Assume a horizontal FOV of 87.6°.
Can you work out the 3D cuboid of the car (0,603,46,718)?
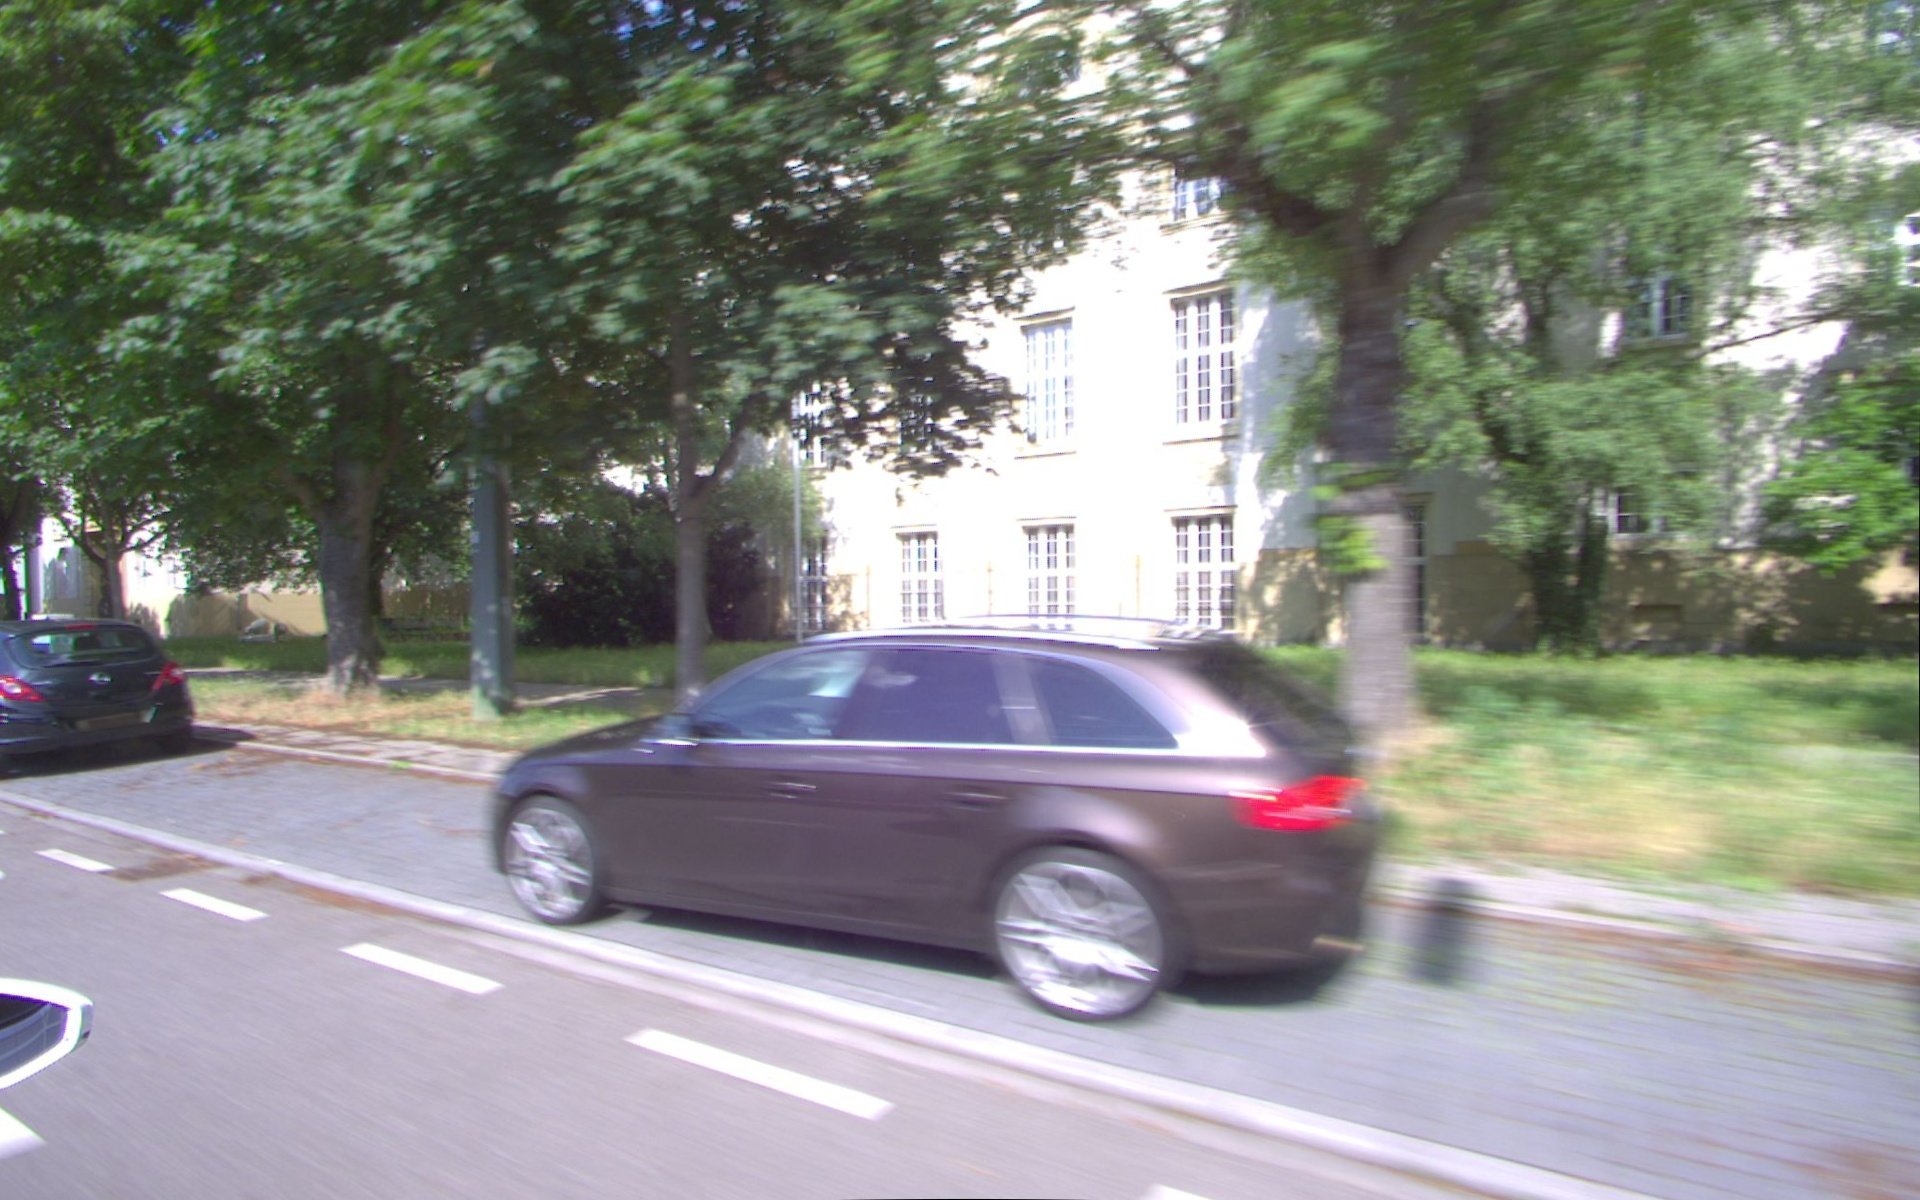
[{"bbox_3d":[-14.365,0.882,13.770,3.505,1.481,1.552,-2,3,29],"label":"car"}]

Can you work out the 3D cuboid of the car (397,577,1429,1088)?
[{"bbox_3d":[-0.386,0.742,4.905,4.757,1.487,1.828,-2,2,28],"label":"car"}]

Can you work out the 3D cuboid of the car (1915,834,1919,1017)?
[{"bbox_3d":[4.483,0.737,1.641,3.959,1.451,1.630,0,3,34],"label":"car"}]

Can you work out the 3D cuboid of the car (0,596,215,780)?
[{"bbox_3d":[-10.109,0.823,10.915,4.245,1.583,1.686,-1,3,32],"label":"car"}]
